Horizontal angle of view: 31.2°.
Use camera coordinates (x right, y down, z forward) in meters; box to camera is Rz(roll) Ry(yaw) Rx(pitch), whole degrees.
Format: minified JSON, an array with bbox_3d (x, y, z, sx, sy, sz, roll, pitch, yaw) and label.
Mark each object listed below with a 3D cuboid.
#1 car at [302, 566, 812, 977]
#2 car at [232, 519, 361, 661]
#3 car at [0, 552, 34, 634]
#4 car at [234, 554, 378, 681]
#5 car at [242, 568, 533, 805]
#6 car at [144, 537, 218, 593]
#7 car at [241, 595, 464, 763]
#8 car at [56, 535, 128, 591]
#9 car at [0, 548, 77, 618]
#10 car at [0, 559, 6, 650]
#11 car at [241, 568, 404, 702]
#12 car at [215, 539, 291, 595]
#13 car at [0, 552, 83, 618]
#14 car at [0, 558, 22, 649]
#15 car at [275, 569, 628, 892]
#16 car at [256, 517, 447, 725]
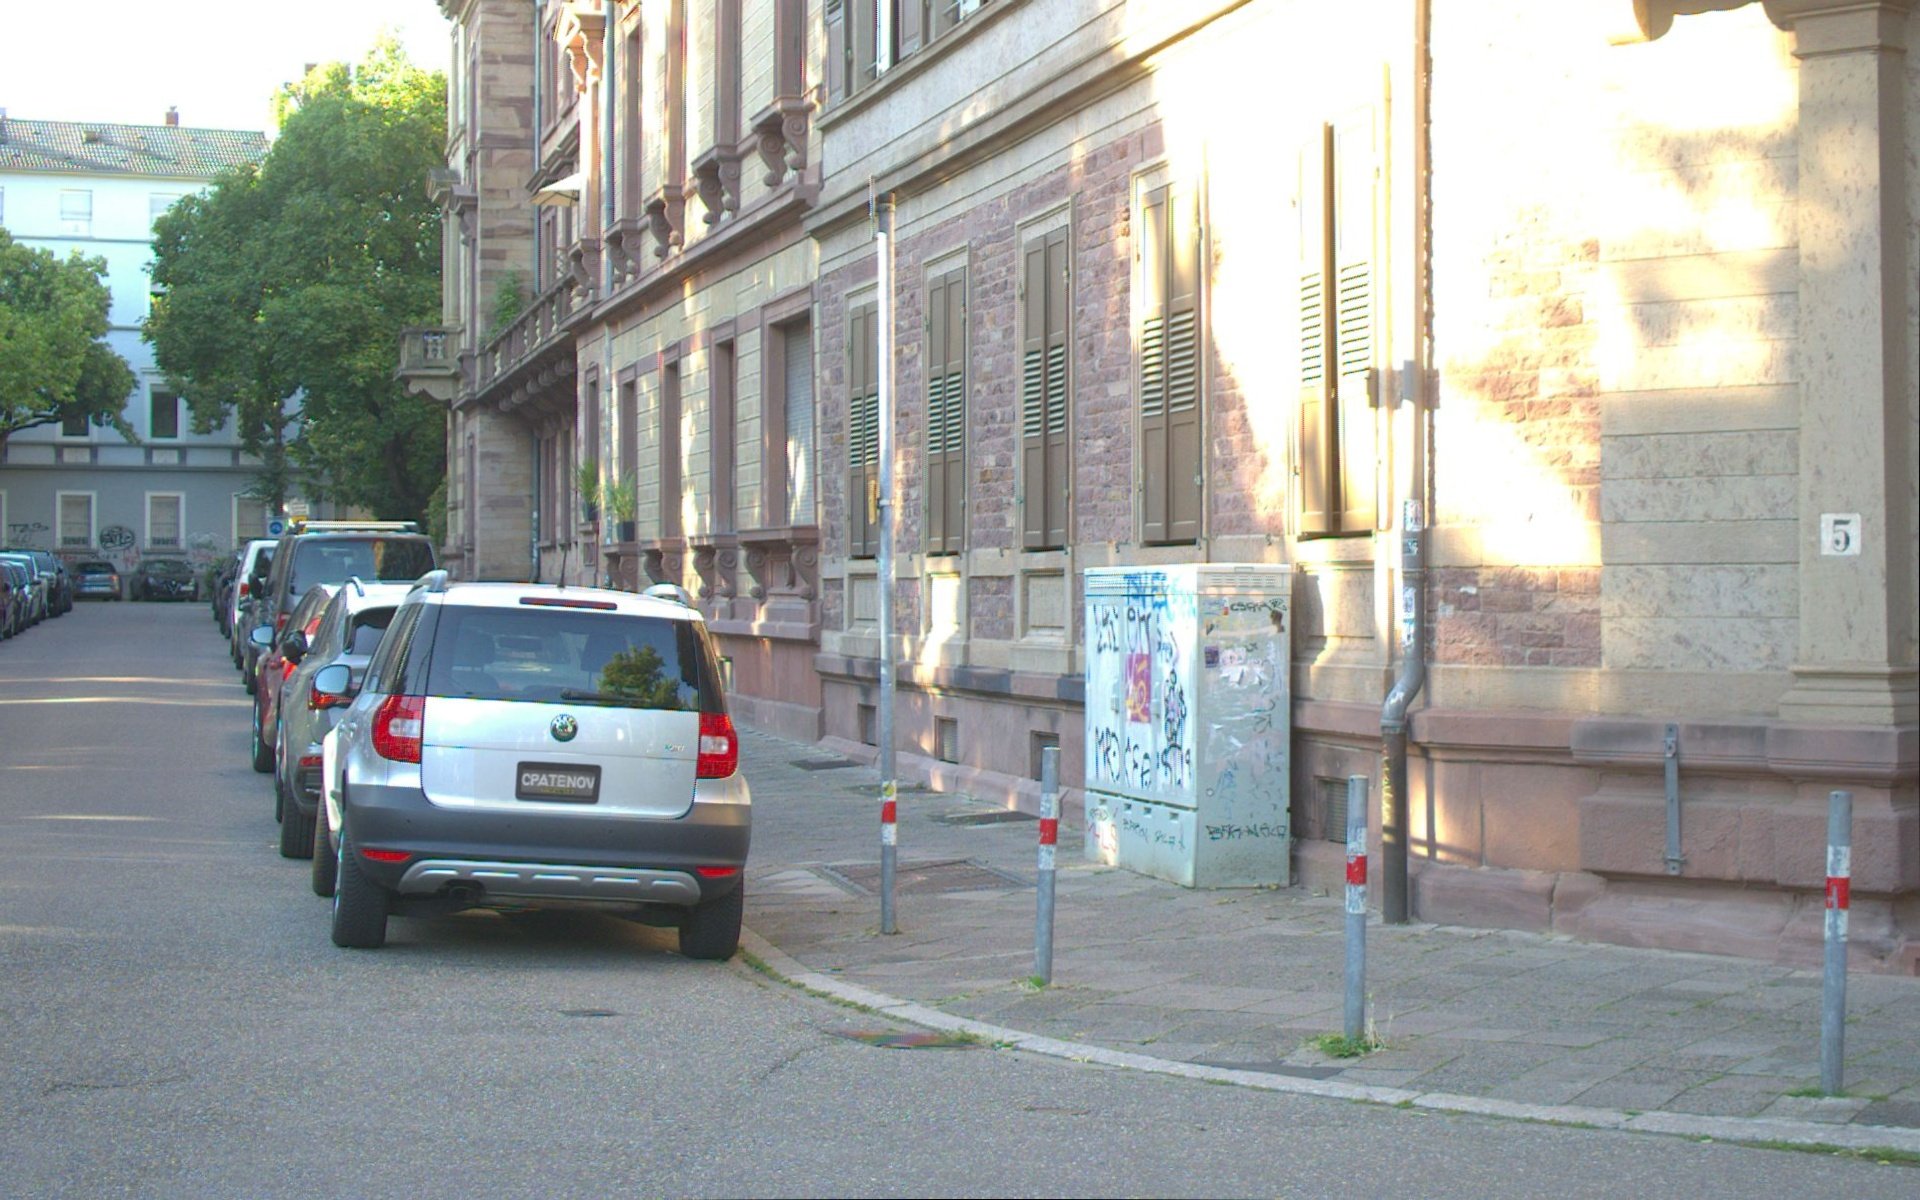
[{"bbox_3d":[-2.071,0.729,16.519,1.915,1.651,4.188,3,-1,-13],"label":"car"},{"bbox_3d":[-10.426,-0.165,53.884,1.797,2.065,3.956,3,0,-12],"label":"car"},{"bbox_3d":[-18.558,-0.183,64.841,1.825,1.495,3.932,3,0,-12],"label":"car"},{"bbox_3d":[-9.139,0.211,47.857,1.797,1.617,3.956,3,0,-12],"label":"car"},{"bbox_3d":[-4.482,0.606,26.488,1.797,1.608,3.956,3,0,-15],"label":"car"},{"bbox_3d":[-25.722,-1.125,113.491,1.993,1.678,4.001,1,-2,-18],"label":"car"},{"bbox_3d":[-5.641,0.687,31.600,1.797,1.341,3.956,3,0,-12],"label":"car"},{"bbox_3d":[-28.392,-1.193,112.333,1.993,1.678,4.001,1,-2,-18],"label":"car"},{"bbox_3d":[-21.587,-0.408,79.881,1.825,1.495,3.932,3,0,-12],"label":"car"},{"bbox_3d":[-16.267,0.046,54.591,1.825,1.495,3.932,3,0,-12],"label":"car"},{"bbox_3d":[-7.972,0.401,42.773,1.797,1.518,3.956,3,0,-12],"label":"car"},{"bbox_3d":[-23.511,-1.075,114.224,1.993,1.678,4.001,1,-2,-18],"label":"car"},{"bbox_3d":[-22.706,-0.374,84.860,1.825,1.495,3.932,3,0,-12],"label":"car"},{"bbox_3d":[-17.200,0.000,58.966,1.825,1.495,3.932,3,0,-12],"label":"car"},{"bbox_3d":[-3.287,0.720,21.508,1.825,1.718,4.545,3,0,-12],"label":"car"},{"bbox_3d":[-6.660,0.196,37.380,1.797,2.065,3.956,3,0,-12],"label":"car"}]
